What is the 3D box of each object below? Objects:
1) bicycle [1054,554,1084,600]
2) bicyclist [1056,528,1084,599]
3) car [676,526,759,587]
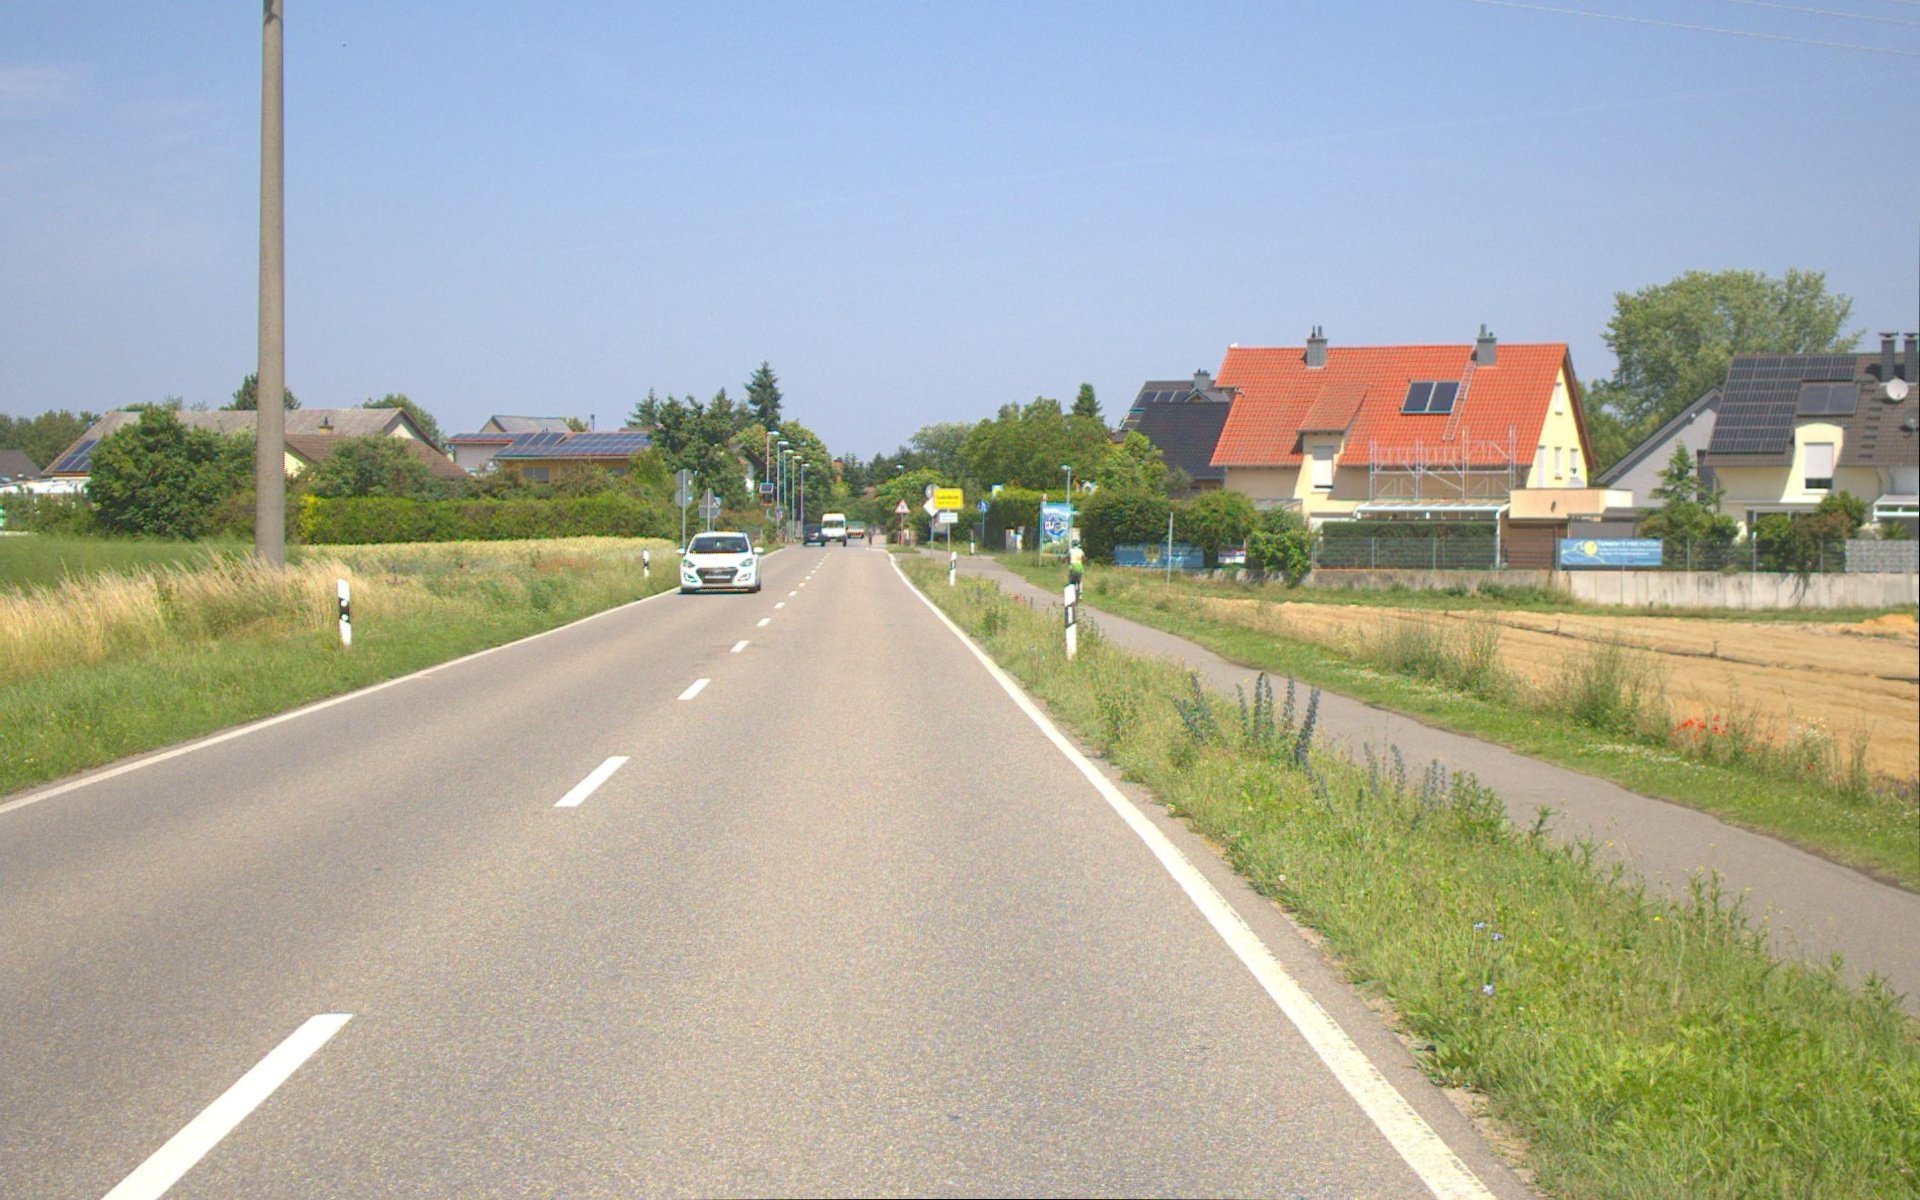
[{"bbox_3d":[2.952,-0.635,93.206,0.610,1.154,2.274,2,2,-2],"label":"bicycle"},{"bbox_3d":[2.977,-0.989,93.040,0.645,1.883,0.861,2,2,-2],"label":"bicyclist"},{"bbox_3d":[-5.715,-1.044,81.498,1.791,1.404,4.186,0,1,-2],"label":"car"}]
